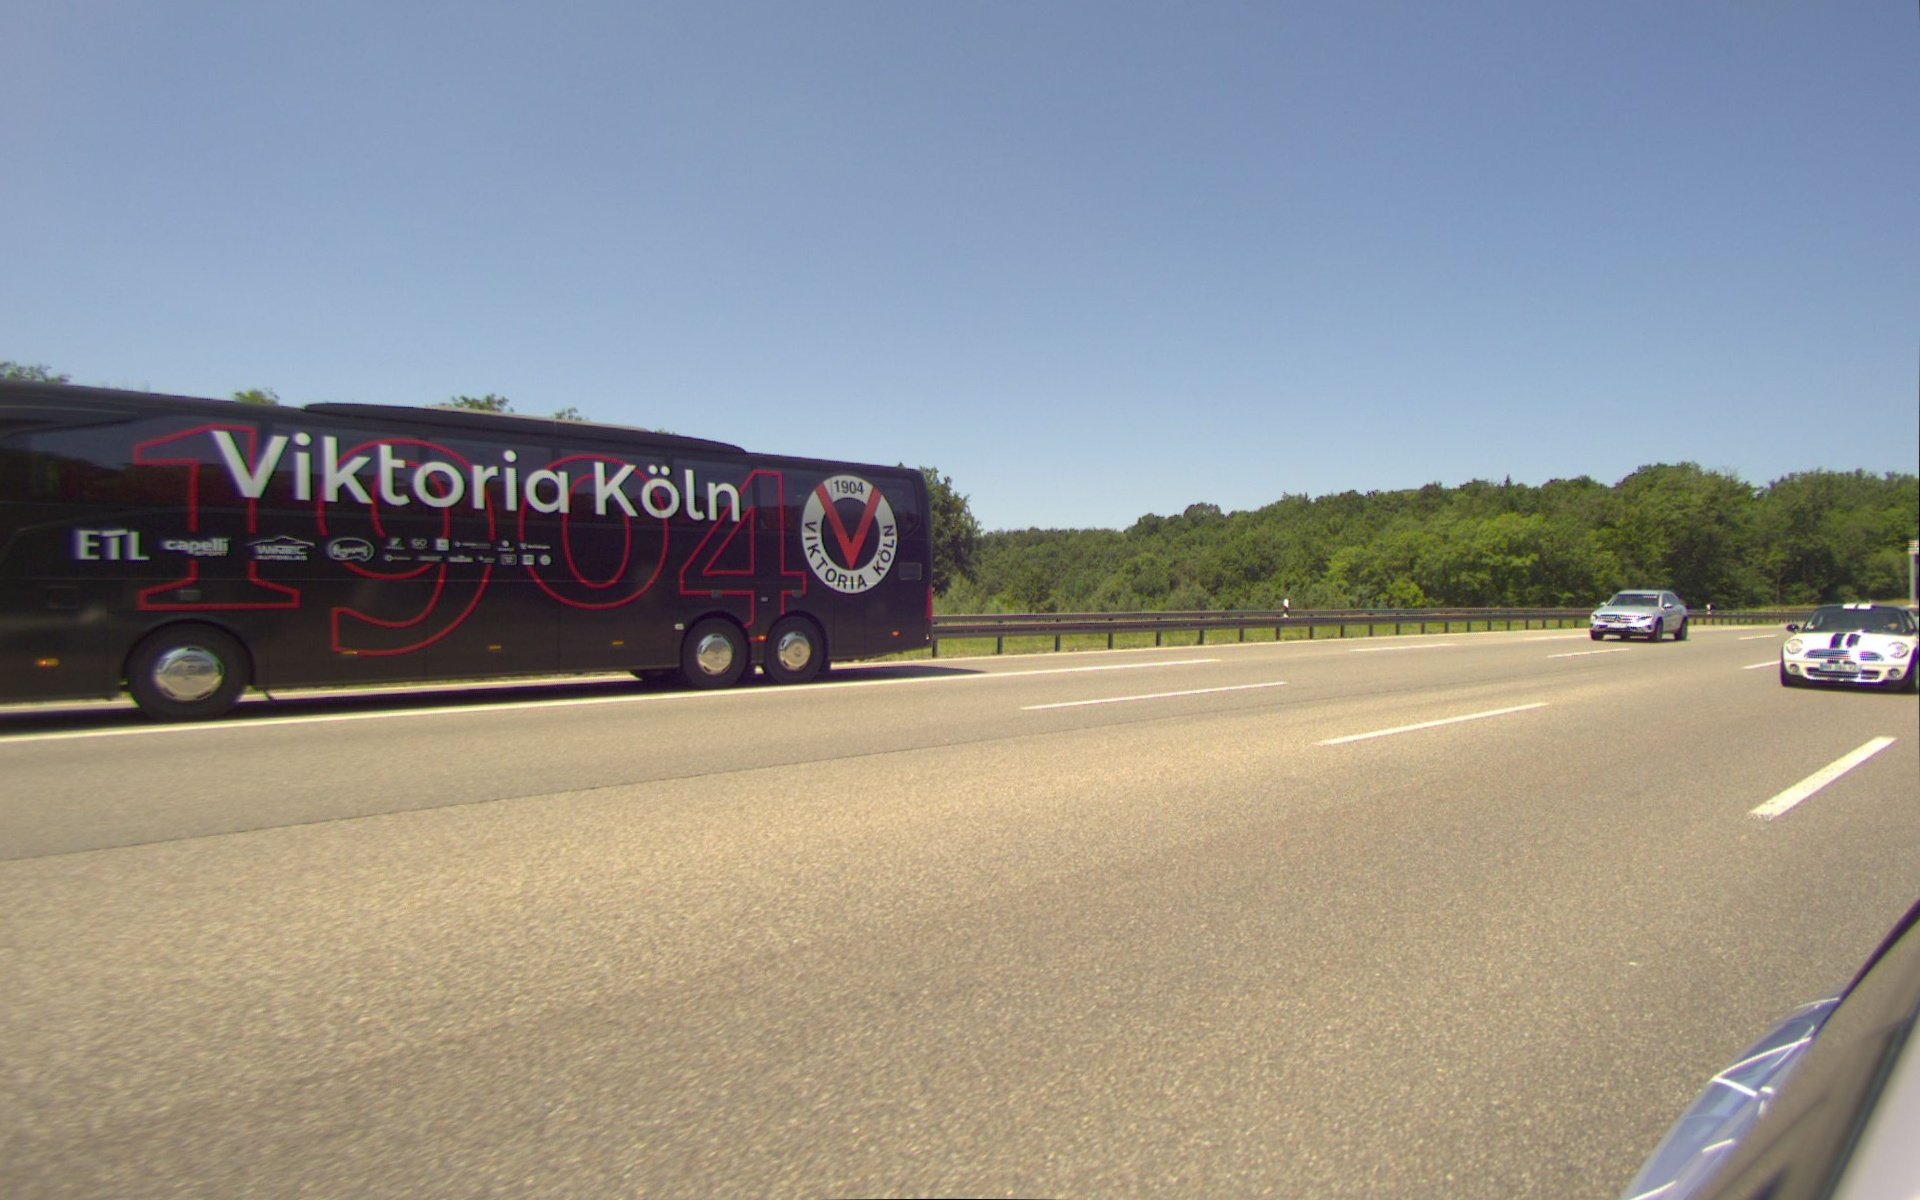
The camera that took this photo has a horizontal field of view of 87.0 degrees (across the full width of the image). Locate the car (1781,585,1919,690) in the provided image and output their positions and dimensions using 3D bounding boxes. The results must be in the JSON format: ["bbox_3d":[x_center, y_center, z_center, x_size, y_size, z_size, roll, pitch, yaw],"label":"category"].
[{"bbox_3d":[15.382,0.554,17.014,3.931,1.571,1.844,0,0,-41],"label":"car"}]

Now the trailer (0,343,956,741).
[{"bbox_3d":[-6.049,-0.581,13.850,13.303,3.734,2.863,0,0,-40],"label":"trailer"}]

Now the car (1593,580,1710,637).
[{"bbox_3d":[22.752,0.284,33.201,5.145,1.753,1.805,1,0,-40],"label":"car"}]
